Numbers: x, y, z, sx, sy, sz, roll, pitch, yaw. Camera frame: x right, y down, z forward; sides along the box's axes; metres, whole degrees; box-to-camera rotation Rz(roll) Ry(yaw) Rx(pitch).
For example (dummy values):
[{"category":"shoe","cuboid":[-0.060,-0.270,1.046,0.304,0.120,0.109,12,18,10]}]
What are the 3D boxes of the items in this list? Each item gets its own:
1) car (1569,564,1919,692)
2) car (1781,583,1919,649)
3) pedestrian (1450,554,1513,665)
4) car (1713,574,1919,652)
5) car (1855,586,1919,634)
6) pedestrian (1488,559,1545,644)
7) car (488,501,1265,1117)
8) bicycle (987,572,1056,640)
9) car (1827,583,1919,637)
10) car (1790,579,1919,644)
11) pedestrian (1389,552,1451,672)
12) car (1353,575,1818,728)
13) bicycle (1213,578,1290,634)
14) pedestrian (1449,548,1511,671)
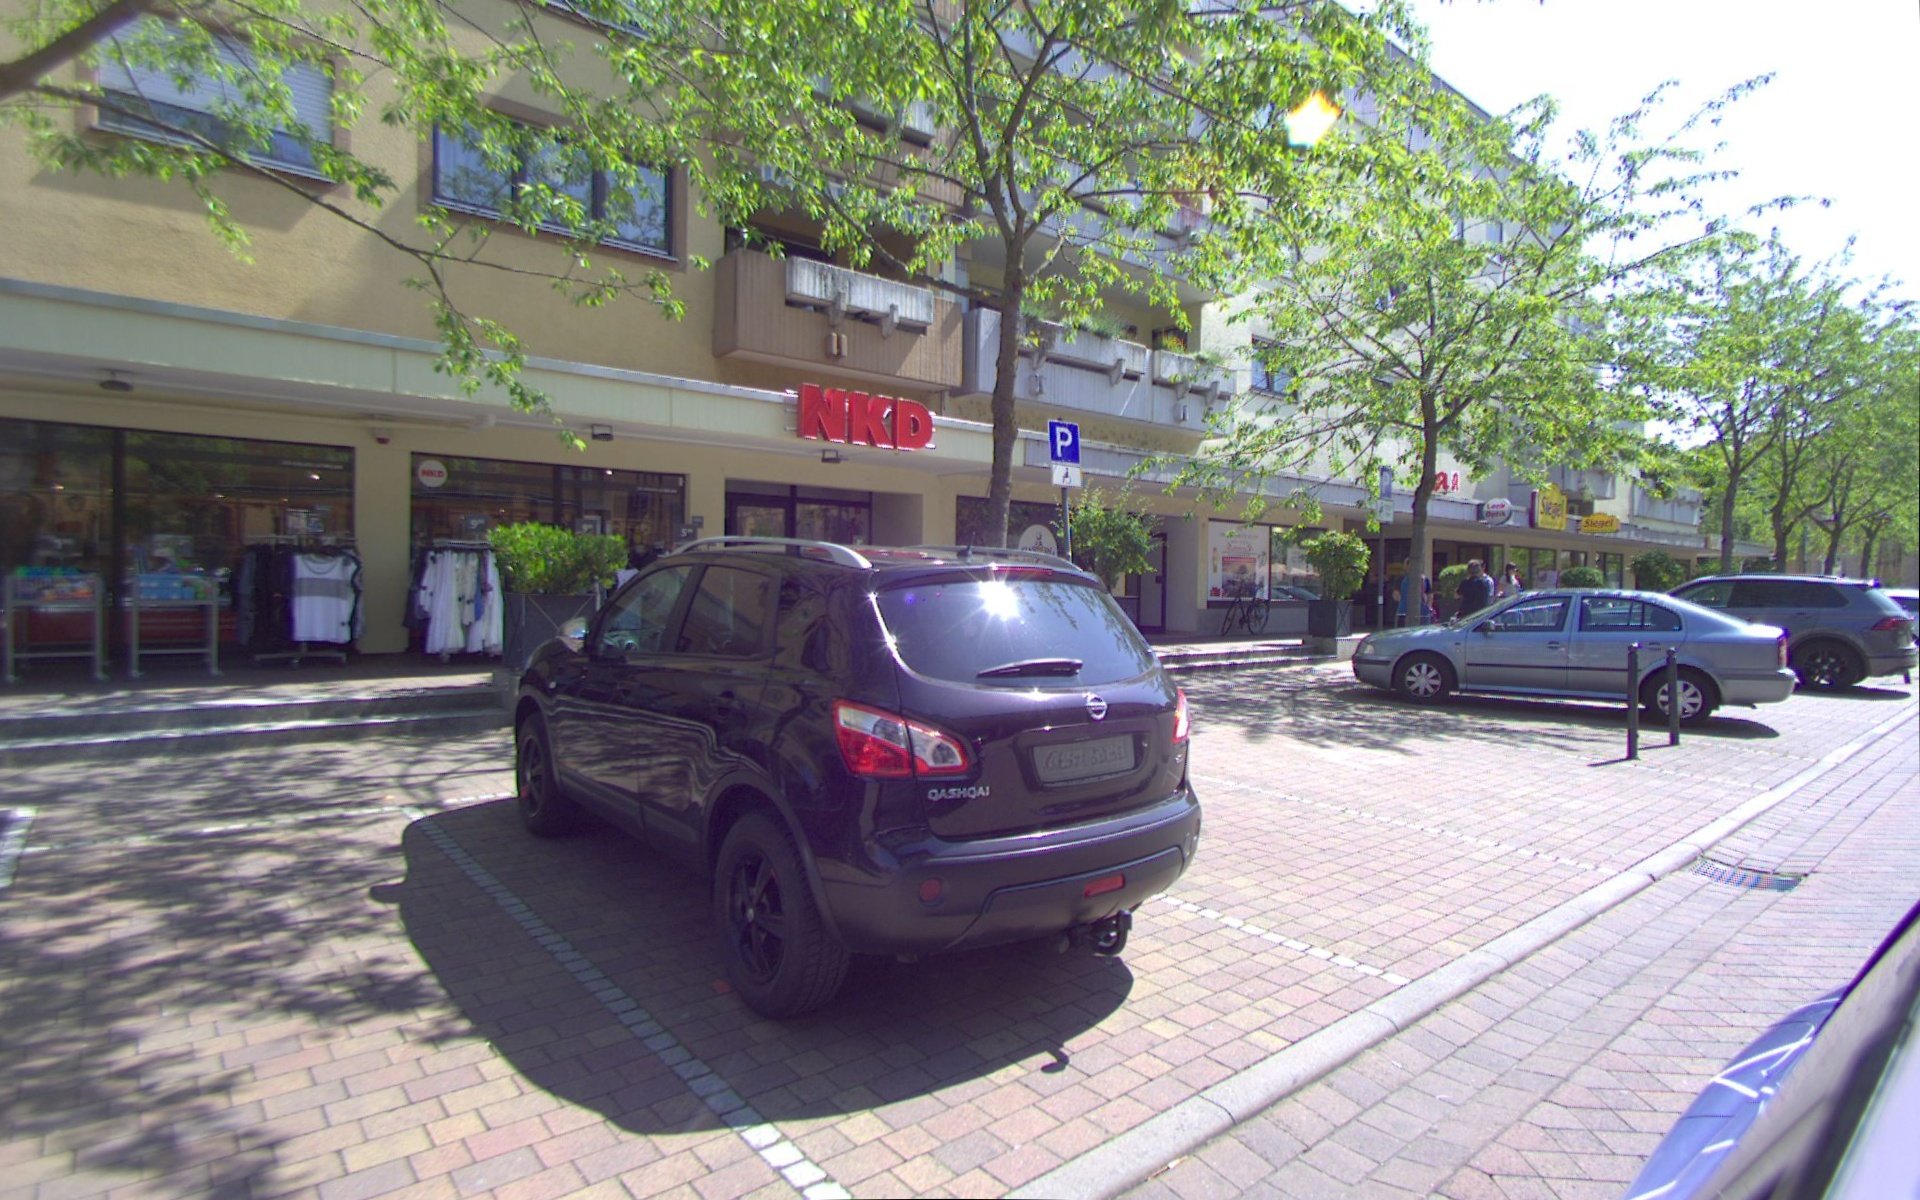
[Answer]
[{"category":"car","cuboid":[12.031,0.311,15.531,1.726,1.638,4.251,0,2,-41]},{"category":"car","cuboid":[22.424,0.369,24.429,1.585,1.449,3.800,0,3,-39]},{"category":"pedestrian","cuboid":[8.394,0.146,16.304,0.635,1.752,0.617,-1,0,-6]},{"category":"car","cuboid":[20.253,0.257,23.126,1.774,1.562,4.586,0,3,-39]},{"category":"car","cuboid":[29.846,0.335,31.031,1.434,1.407,3.401,0,3,-39]},{"category":"pedestrian","cuboid":[12.125,0.017,22.058,0.853,1.803,0.760,0,1,-33]},{"category":"car","cuboid":[-0.803,0.447,4.761,1.651,1.631,4.037,-1,3,-39]},{"category":"bicycle","cuboid":[1.015,0.083,16.517,0.360,1.080,1.293,-1,0,43]},{"category":"car","cuboid":[27.844,0.289,29.718,1.493,1.481,3.401,0,3,-39]},{"category":"car","cuboid":[24.125,0.283,26.318,1.604,1.535,3.652,0,3,-39]},{"category":"pedestrian","cuboid":[7.052,0.177,15.539,0.619,1.795,0.687,0,0,-2]},{"category":"car","cuboid":[7.105,0.467,11.994,4.350,1.481,1.871,1,2,30]},{"category":"bicycle","cuboid":[6.025,0.112,20.868,1.834,1.095,0.642,-1,0,-41]},{"category":"pedestrian","cuboid":[7.880,0.139,15.361,0.594,1.819,0.628,0,0,-4]}]
